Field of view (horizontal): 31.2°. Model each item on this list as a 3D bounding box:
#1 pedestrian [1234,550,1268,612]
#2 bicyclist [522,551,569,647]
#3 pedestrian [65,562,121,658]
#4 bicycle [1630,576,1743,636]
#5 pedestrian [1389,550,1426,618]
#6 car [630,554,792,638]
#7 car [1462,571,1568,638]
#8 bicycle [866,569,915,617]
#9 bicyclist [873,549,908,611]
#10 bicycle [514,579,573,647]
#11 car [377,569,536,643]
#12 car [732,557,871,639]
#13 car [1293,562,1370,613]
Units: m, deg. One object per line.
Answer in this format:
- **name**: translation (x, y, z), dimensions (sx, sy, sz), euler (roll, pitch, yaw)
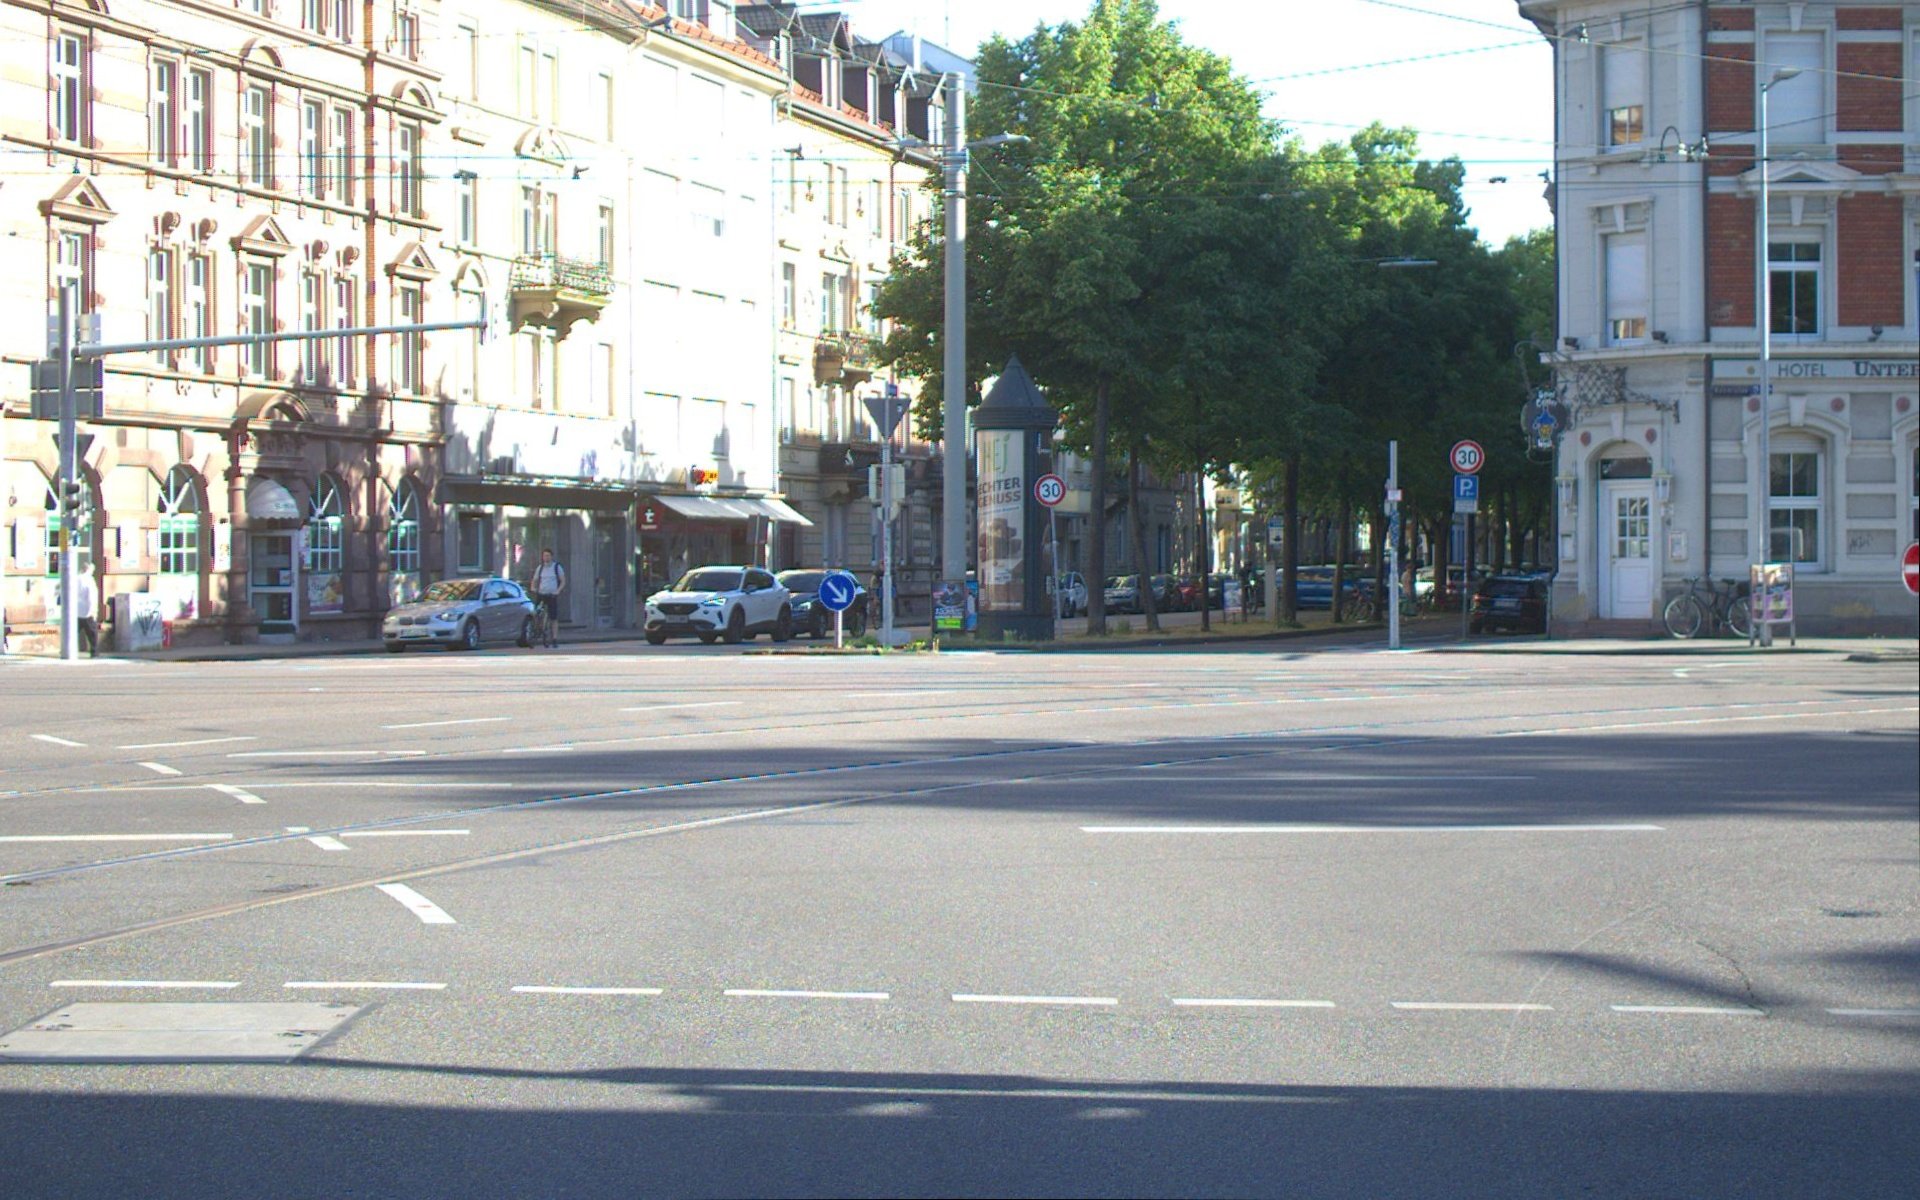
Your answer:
- **pedestrian**: translation (9.542, -0.612, 112.759), dimensions (0.944, 2.007, 0.826), euler (1, 0, 14)
- **bicyclist**: translation (-7.854, -0.026, 65.094), dimensions (0.565, 1.797, 0.913), euler (1, 0, 15)
- **pedestrian**: translation (-14.943, 0.168, 59.268), dimensions (0.568, 1.636, 0.792), euler (1, 0, 23)
- **bicycle**: translation (12.067, 0.098, 57.125), dimensions (1.804, 0.959, 0.603), euler (1, 0, 14)
- **pedestrian**: translation (13.327, -0.488, 102.469), dimensions (0.961, 2.007, 0.918), euler (1, 0, 1)
- **car**: translation (-4.829, -0.093, 67.280), dimensions (1.804, 1.579, 4.156), euler (1, 1, 17)
- **car**: translation (13.345, 0.098, 82.499), dimensions (1.758, 1.550, 3.996), euler (1, 1, 20)
- **bicycle**: translation (-1.773, -0.185, 88.115), dimensions (0.674, 1.203, 1.820), euler (1, 1, 18)
- **bicyclist**: translation (-1.769, -0.513, 88.114), dimensions (0.674, 1.563, 0.747), euler (1, 0, 18)
- **bicycle**: translation (-7.871, 0.240, 65.007), dimensions (0.565, 1.250, 1.556), euler (1, 1, 14)
- **car**: translation (-9.780, 0.102, 67.082), dimensions (1.661, 1.369, 3.889), euler (1, 1, 15)
- **car**: translation (-3.362, -0.063, 73.620), dimensions (1.826, 1.679, 3.872), euler (1, 1, 16)
- **car**: translation (12.622, -0.428, 116.616), dimensions (1.995, 1.678, 3.997), euler (1, 1, 15)
